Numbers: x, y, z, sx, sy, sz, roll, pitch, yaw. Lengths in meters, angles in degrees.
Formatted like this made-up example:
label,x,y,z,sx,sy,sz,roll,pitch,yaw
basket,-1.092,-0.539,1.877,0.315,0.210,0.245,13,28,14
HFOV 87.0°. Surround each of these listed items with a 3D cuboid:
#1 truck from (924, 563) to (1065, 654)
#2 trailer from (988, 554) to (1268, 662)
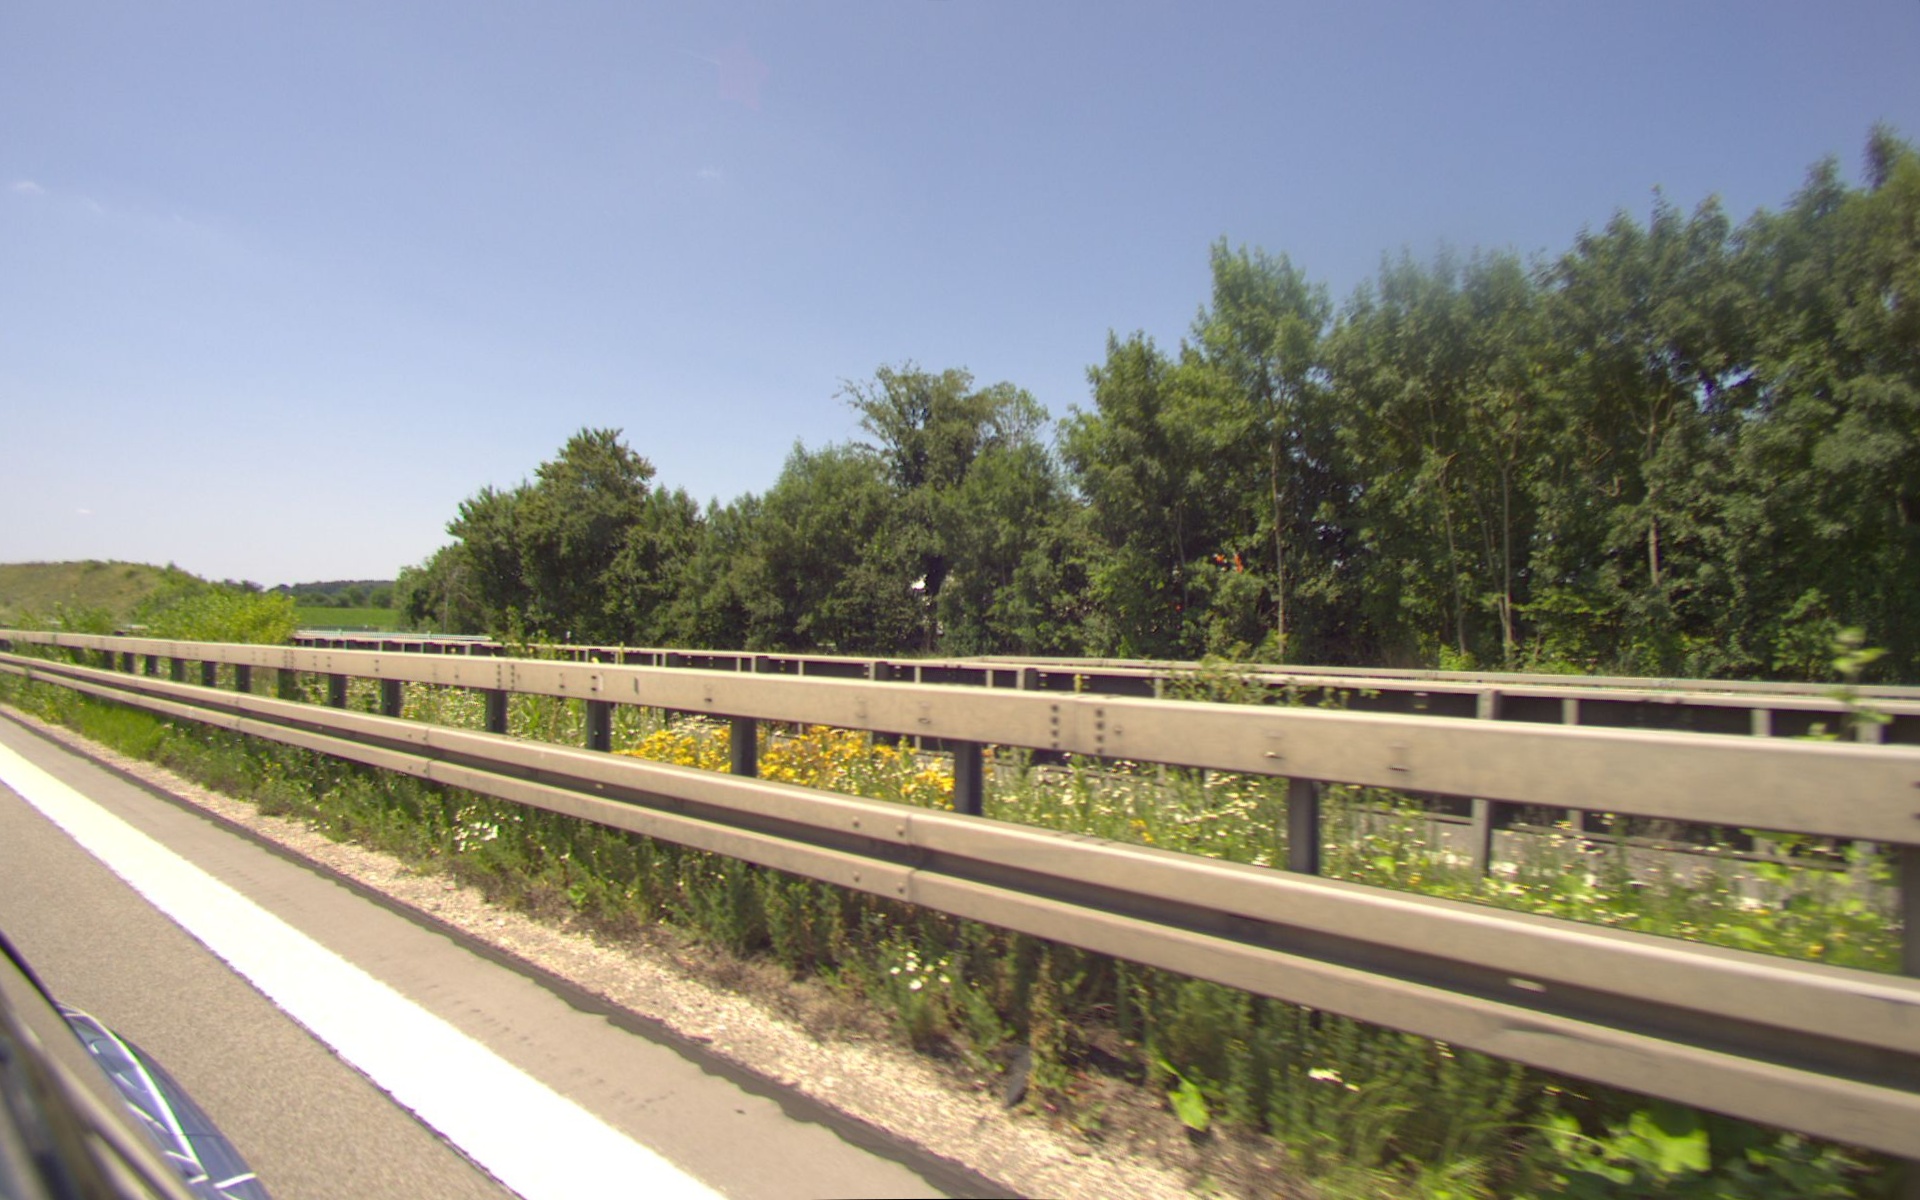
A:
label,x,y,z,sx,sy,sz,roll,pitch,yaw
truck,1.374,0.349,42.491,6.020,3.590,1.973,-1,0,41
trailer,5.966,0.304,38.441,11.102,3.628,1.973,-1,0,41
